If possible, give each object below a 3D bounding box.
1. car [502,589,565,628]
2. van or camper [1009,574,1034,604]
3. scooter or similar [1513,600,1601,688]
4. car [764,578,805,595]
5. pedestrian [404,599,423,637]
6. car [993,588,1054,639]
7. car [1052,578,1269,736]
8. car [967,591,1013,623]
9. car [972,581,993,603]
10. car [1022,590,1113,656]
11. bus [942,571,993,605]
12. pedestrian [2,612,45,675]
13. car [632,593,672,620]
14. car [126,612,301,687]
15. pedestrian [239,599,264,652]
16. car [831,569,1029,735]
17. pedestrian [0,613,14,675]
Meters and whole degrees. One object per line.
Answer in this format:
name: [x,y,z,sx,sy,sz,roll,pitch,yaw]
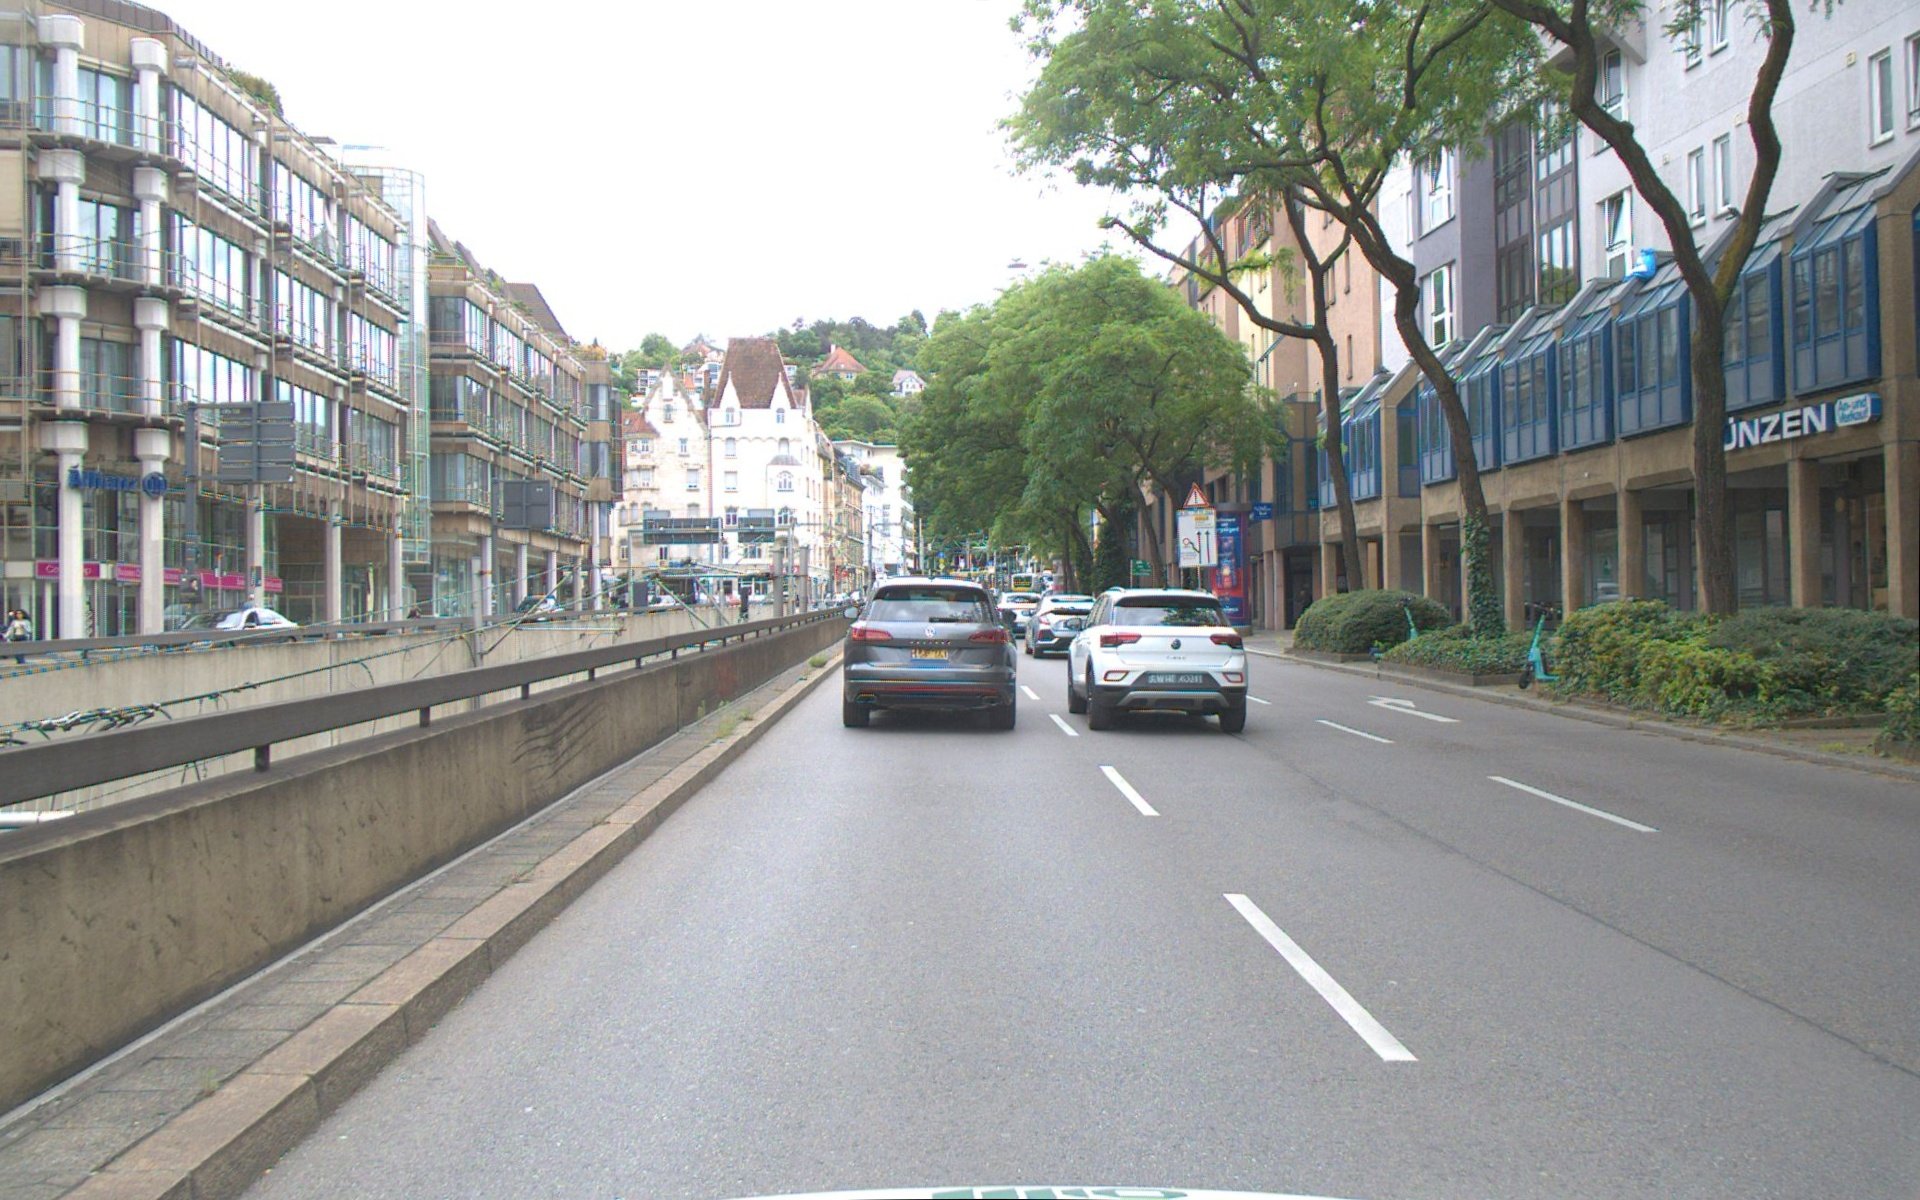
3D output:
car: [-20.301,0.389,78.902,1.953,1.798,4.279,-1,0,-1]
van or camper: [6.856,-1.188,183.386,2.572,3.234,5.806,-1,0,4]
scooter or similar: [8.568,0.633,23.763,1.083,1.202,0.428,-2,0,9]
car: [-17.764,-1.328,167.447,3.920,1.676,1.817,-1,0,-15]
pedestrian: [-26.894,0.881,81.424,0.760,1.856,0.712,-1,0,-11]
car: [2.053,0.423,54.392,1.795,1.544,3.767,-2,0,0]
car: [2.231,0.579,19.440,1.762,1.572,3.932,1,2,-4]
car: [1.380,0.307,76.909,1.796,1.387,3.764,-2,0,-4]
car: [2.012,-0.733,150.420,1.794,1.907,4.870,-2,0,0]
car: [2.465,0.536,38.787,1.796,1.457,4.146,0,-1,-1]
bus: [0.983,-1.379,185.110,3.768,3.593,17.258,-1,0,6]
pedestrian: [-24.114,1.107,42.595,0.687,1.571,0.845,-1,0,-9]
car: [-21.181,0.427,113.848,1.953,1.798,4.279,-1,0,-1]
car: [-18.130,1.157,40.462,1.952,1.613,4.888,-1,0,1]
pedestrian: [-24.520,0.875,57.256,0.521,1.824,0.694,-1,0,-1]
car: [-0.468,0.514,19.369,1.932,1.725,4.218,0,1,-7]
pedestrian: [-24.844,1.127,42.462,0.687,1.571,0.845,-1,0,-9]
